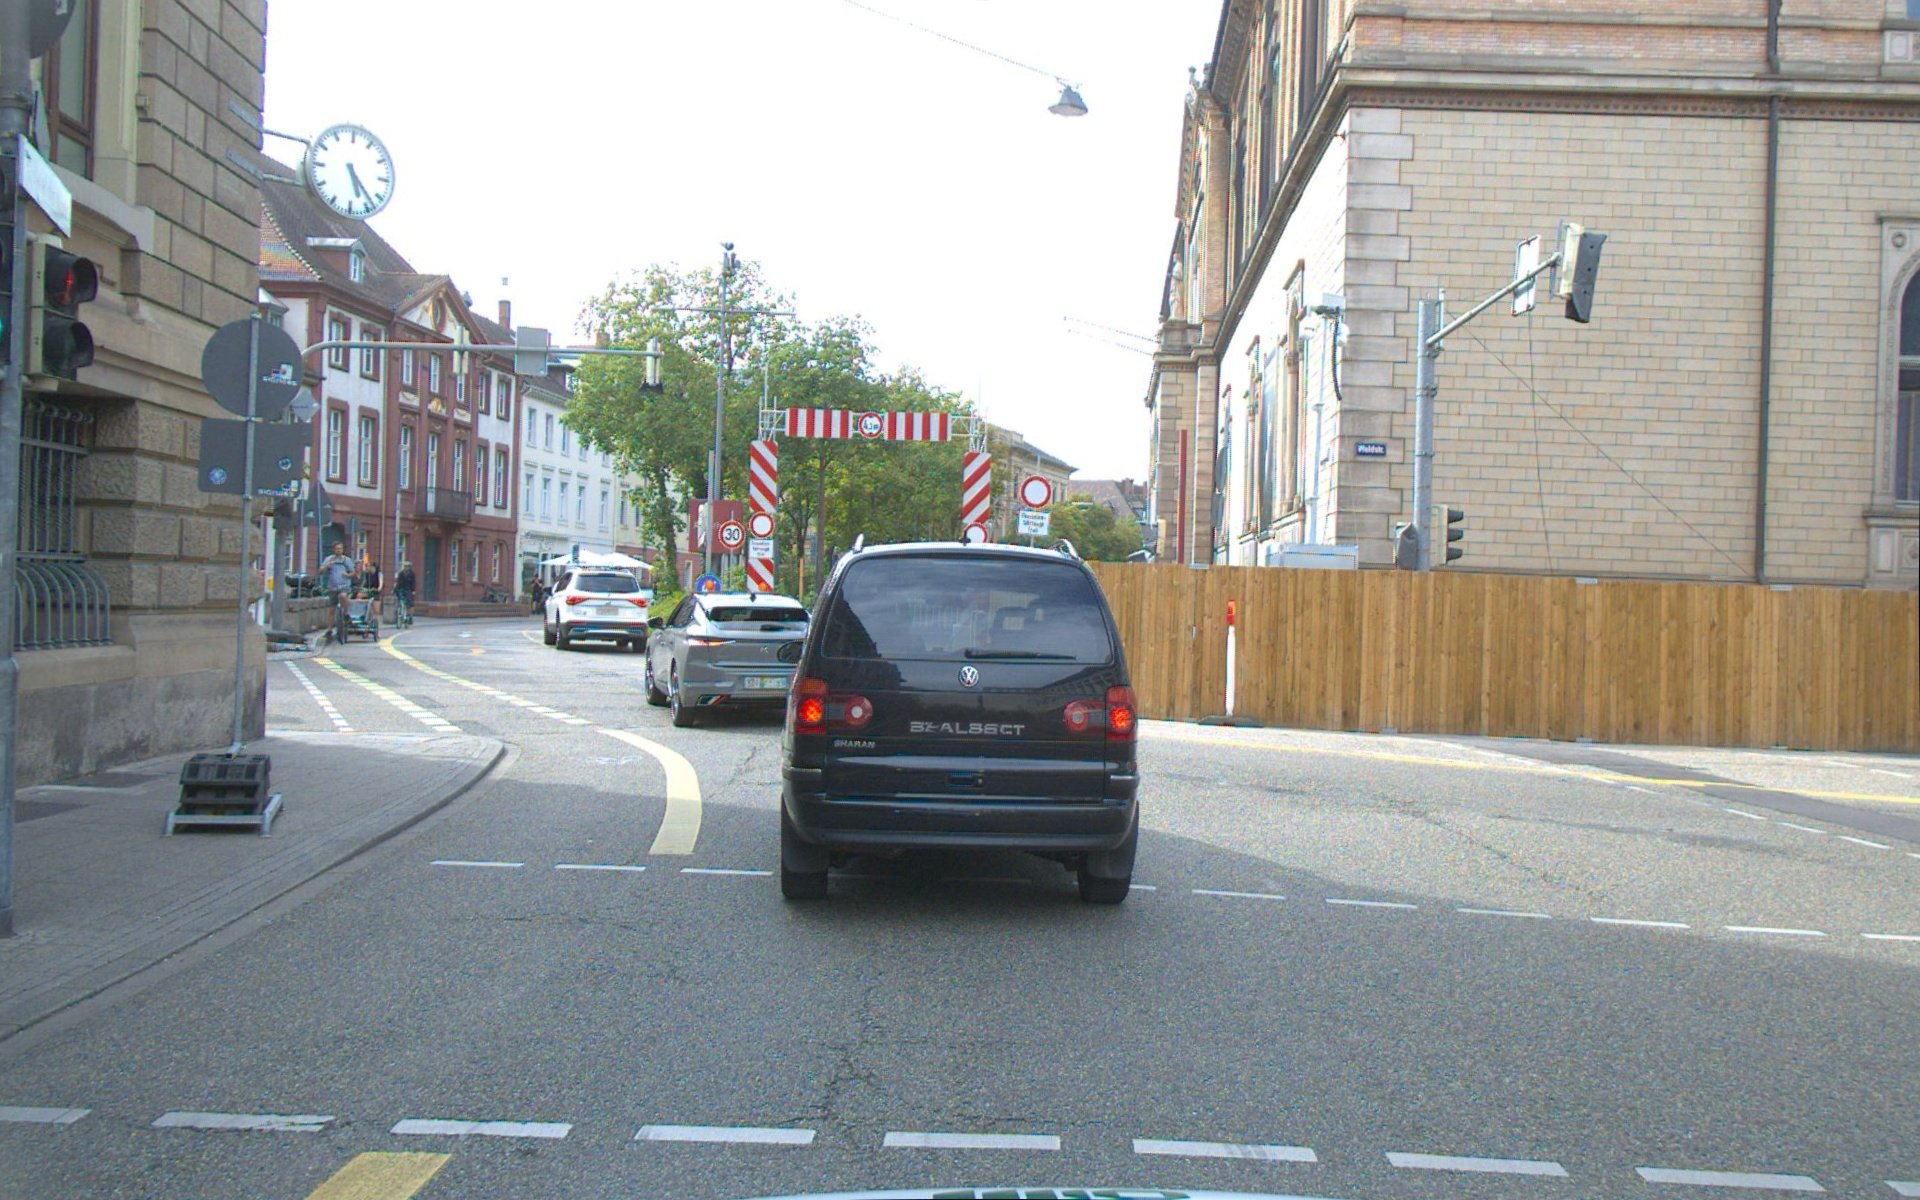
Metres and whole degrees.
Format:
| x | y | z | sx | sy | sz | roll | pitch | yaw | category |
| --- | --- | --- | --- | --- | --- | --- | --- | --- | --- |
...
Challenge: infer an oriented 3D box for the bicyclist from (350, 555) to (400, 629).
| x | y | z | sx | sy | sz | roll | pitch | yaw | category |
| --- | --- | --- | --- | --- | --- | --- | --- | --- | --- |
| -13.338 | -0.171 | 37.736 | 0.909 | 1.637 | 1.060 | 1 | -1 | -12 | bicyclist |

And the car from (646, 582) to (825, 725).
| x | y | z | sx | sy | sz | roll | pitch | yaw | category |
| --- | --- | --- | --- | --- | --- | --- | --- | --- | --- |
| -2.782 | 0.580 | 19.795 | 1.650 | 1.494 | 4.088 | 2 | 0 | -14 | car |

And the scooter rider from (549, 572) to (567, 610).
| x | y | z | sx | sy | sz | roll | pitch | yaw | category |
| --- | --- | --- | --- | --- | --- | --- | --- | --- | --- |
| -16.331 | -0.377 | 67.224 | 0.588 | 1.516 | 0.678 | 1 | -1 | -8 | scooter rider |

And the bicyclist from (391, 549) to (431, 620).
| x | y | z | sx | sy | sz | roll | pitch | yaw | category |
| --- | --- | --- | --- | --- | --- | --- | --- | --- | --- |
| -15.708 | -0.438 | 47.342 | 0.909 | 1.997 | 1.102 | 1 | -1 | -12 | bicyclist |

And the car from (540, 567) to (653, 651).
| x | y | z | sx | sy | sz | roll | pitch | yaw | category |
| --- | --- | --- | --- | --- | --- | --- | --- | --- | --- |
| -7.635 | 0.183 | 34.475 | 1.747 | 1.613 | 3.976 | 1 | 0 | -20 | car |

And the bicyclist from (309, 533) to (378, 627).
| x | y | z | sx | sy | sz | roll | pitch | yaw | category |
| --- | --- | --- | --- | --- | --- | --- | --- | --- | --- |
| -12.601 | -0.402 | 33.828 | 1.072 | 1.856 | 1.361 | 1 | -1 | -12 | bicyclist |

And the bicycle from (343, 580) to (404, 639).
| x | y | z | sx | sy | sz | roll | pitch | yaw | category |
| --- | --- | --- | --- | --- | --- | --- | --- | --- | --- |
| -13.343 | 0.217 | 37.686 | 0.909 | 1.277 | 2.534 | 1 | 0 | -11 | bicycle |

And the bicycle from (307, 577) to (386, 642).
| x | y | z | sx | sy | sz | roll | pitch | yaw | category |
| --- | --- | --- | --- | --- | --- | --- | --- | --- | --- |
| -12.630 | 0.194 | 34.152 | 1.037 | 1.277 | 3.032 | 1 | 0 | -11 | bicycle |

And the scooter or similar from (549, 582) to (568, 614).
| x | y | z | sx | sy | sz | roll | pitch | yaw | category |
| --- | --- | --- | --- | --- | --- | --- | --- | --- | --- |
| -16.330 | -0.073 | 67.272 | 0.588 | 1.277 | 1.549 | 1 | 0 | -8 | scooter or similar |

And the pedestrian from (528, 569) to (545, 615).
| x | y | z | sx | sy | sz | roll | pitch | yaw | category |
| --- | --- | --- | --- | --- | --- | --- | --- | --- | --- |
| -19.010 | -0.356 | 74.251 | 0.574 | 2.049 | 0.685 | 1 | -1 | -6 | pedestrian |

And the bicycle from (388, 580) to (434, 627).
| x | y | z | sx | sy | sz | roll | pitch | yaw | category |
| --- | --- | --- | --- | --- | --- | --- | --- | --- | --- |
| -15.786 | 0.105 | 47.588 | 0.909 | 1.277 | 2.534 | 1 | 0 | -11 | bicycle |

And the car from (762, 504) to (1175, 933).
| x | y | z | sx | sy | sz | roll | pitch | yaw | category |
| --- | --- | --- | --- | --- | --- | --- | --- | --- | --- |
| -0.063 | 0.528 | 9.255 | 1.754 | 1.821 | 4.100 | 2 | 0 | -3 | car |
